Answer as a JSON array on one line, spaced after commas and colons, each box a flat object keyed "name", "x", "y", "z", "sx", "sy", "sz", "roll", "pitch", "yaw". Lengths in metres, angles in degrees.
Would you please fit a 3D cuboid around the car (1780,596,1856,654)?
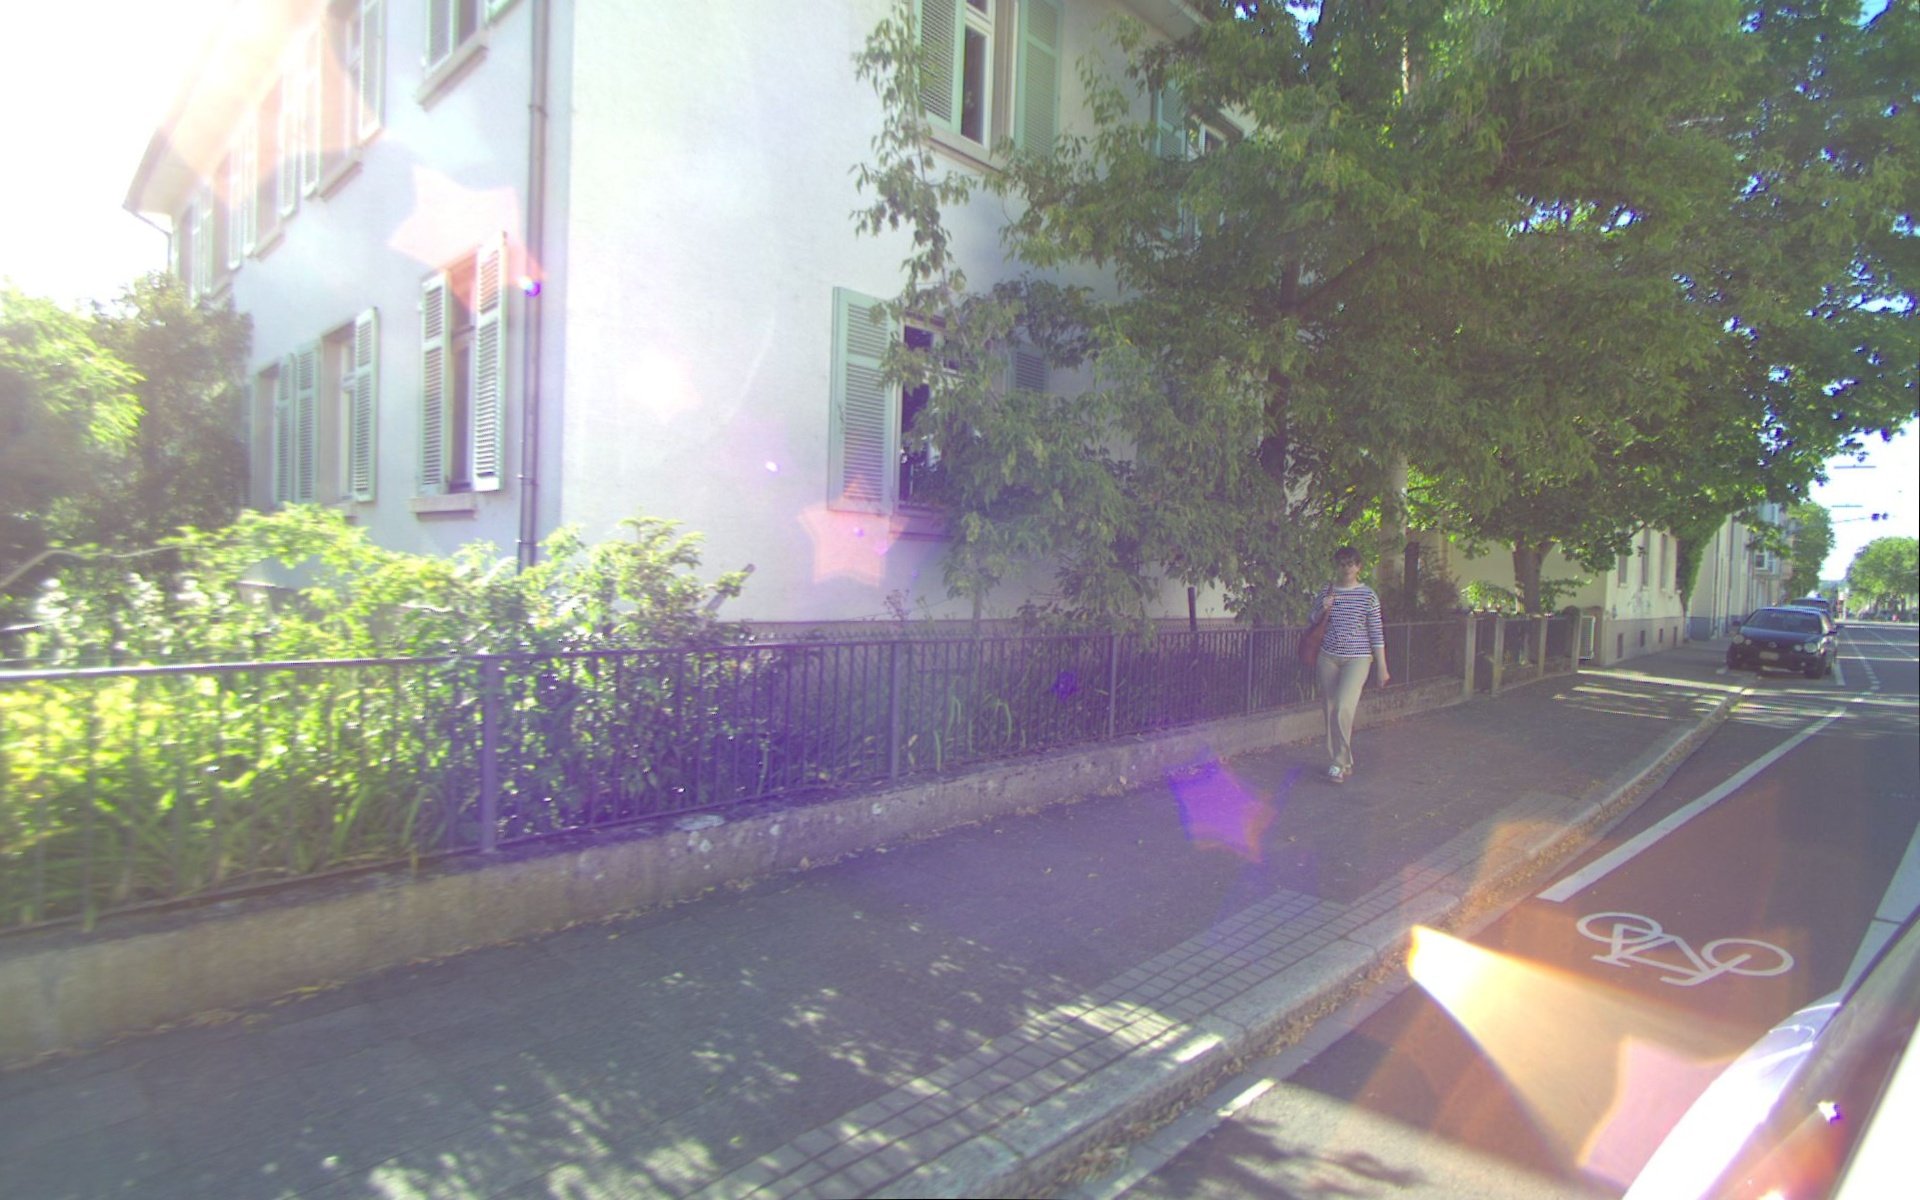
[{"name": "car", "x": 24.860, "y": 0.682, "z": 29.407, "sx": 1.599, "sy": 1.544, "sz": 3.498, "roll": 1, "pitch": 1, "yaw": 39}]

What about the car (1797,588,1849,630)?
[{"name": "car", "x": 44.046, "y": 0.421, "z": 51.685, "sx": 1.904, "sy": 2.012, "sz": 4.496, "roll": 1, "pitch": 1, "yaw": 40}]

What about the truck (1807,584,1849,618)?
[{"name": "truck", "x": 67.017, "y": 0.067, "z": 78.093, "sx": 2.294, "sy": 2.508, "sz": 6.053, "roll": 3, "pitch": 2, "yaw": 41}]

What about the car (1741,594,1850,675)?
[{"name": "car", "x": 18.931, "y": 0.700, "z": 22.883, "sx": 1.665, "sy": 1.583, "sz": 3.713, "roll": 3, "pitch": 3, "yaw": 42}]

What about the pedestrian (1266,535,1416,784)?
[{"name": "pedestrian", "x": 2.846, "y": 0.400, "z": 7.548, "sx": 0.717, "sy": 1.708, "sz": 0.857, "roll": 4, "pitch": 3, "yaw": 40}]

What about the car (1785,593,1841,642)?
[{"name": "car", "x": 30.341, "y": 0.596, "z": 36.067, "sx": 1.455, "sy": 1.619, "sz": 3.247, "roll": 1, "pitch": 0, "yaw": 39}]

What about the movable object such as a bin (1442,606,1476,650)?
[{"name": "movable object such as a bin", "x": 11.392, "y": 0.628, "z": 23.122, "sx": 0.490, "sy": 0.959, "sz": 0.529, "roll": 1, "pitch": 2, "yaw": -45}]
